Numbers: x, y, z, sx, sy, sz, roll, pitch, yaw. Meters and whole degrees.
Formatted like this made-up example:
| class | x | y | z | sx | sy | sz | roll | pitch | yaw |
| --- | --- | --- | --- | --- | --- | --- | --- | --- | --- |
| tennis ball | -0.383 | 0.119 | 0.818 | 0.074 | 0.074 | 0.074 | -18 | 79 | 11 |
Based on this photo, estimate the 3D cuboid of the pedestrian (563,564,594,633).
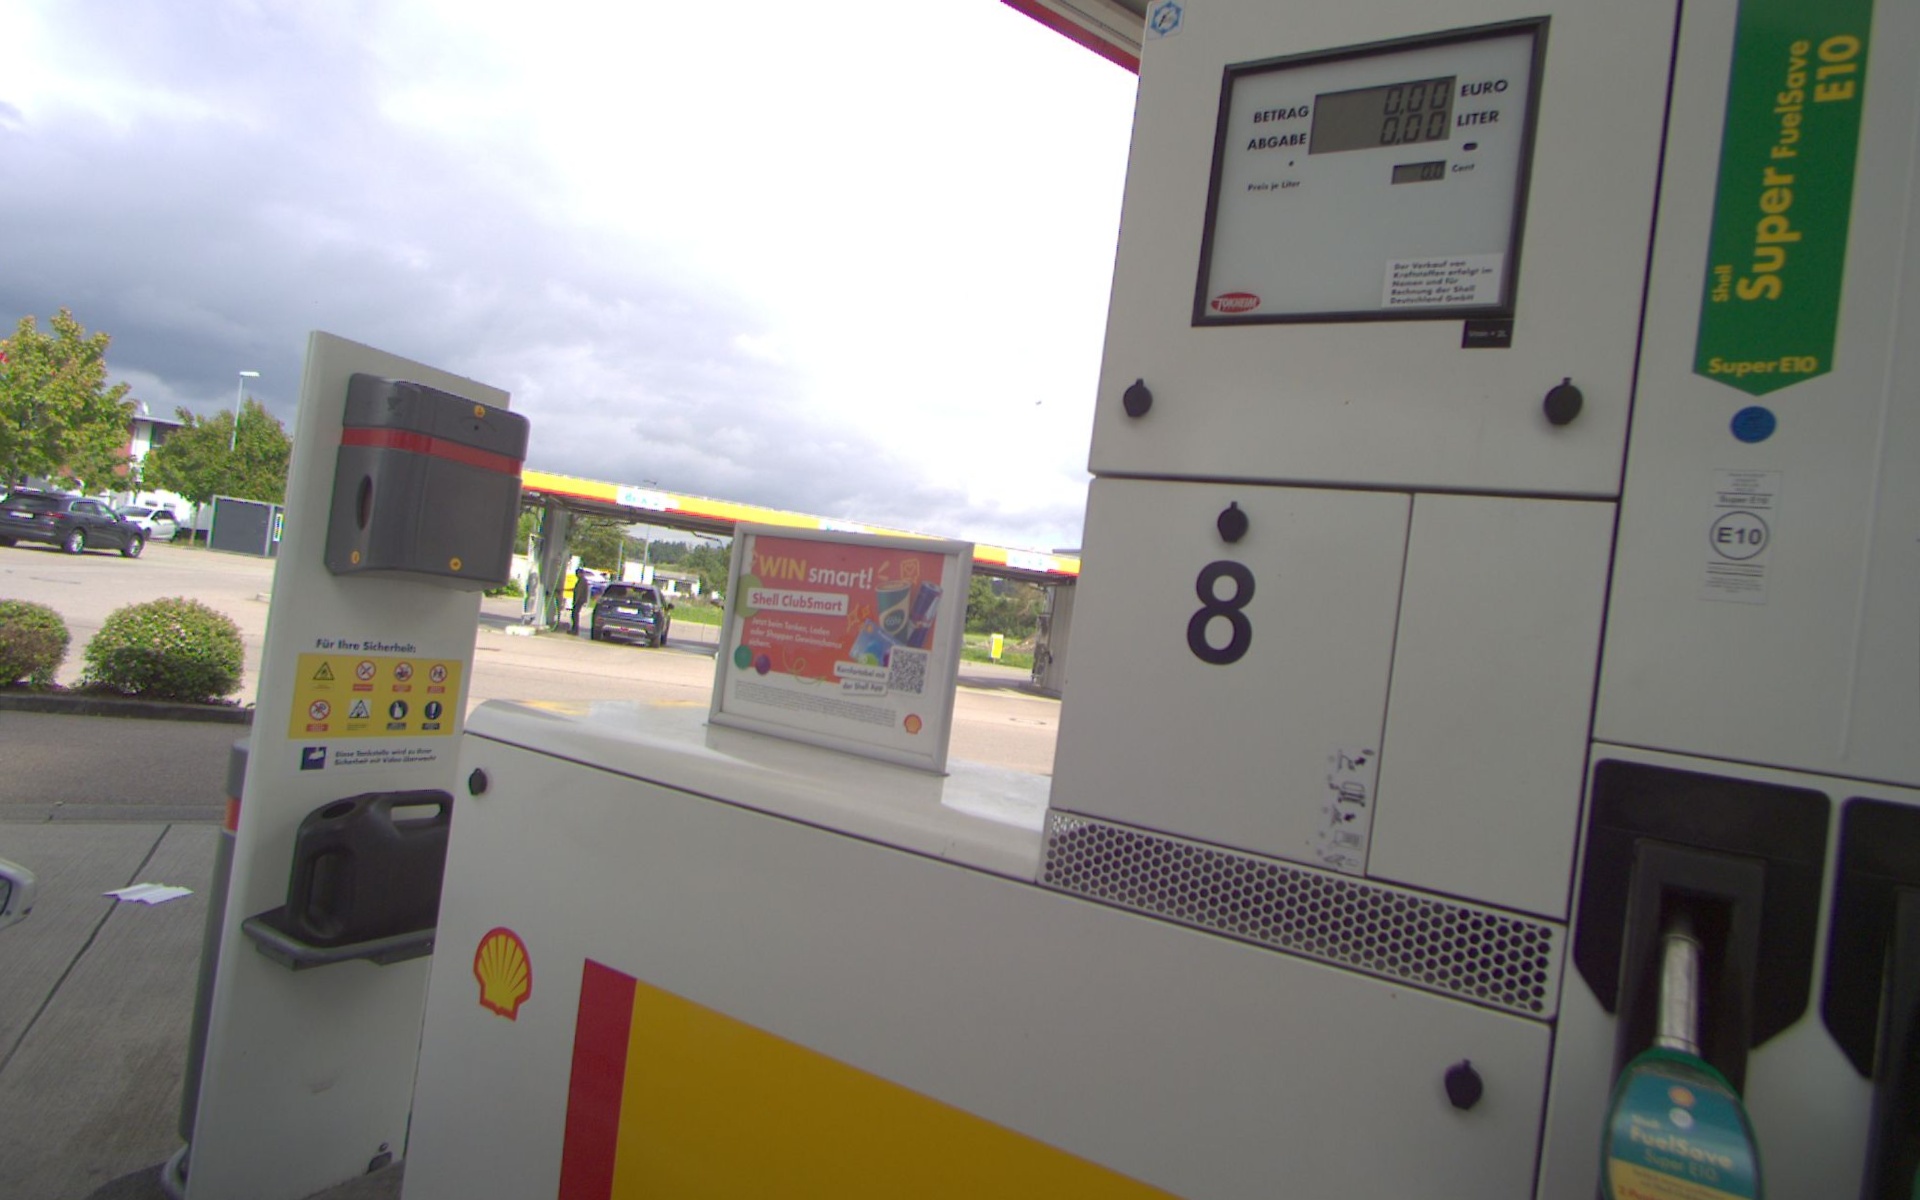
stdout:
| class | x | y | z | sx | sy | sz | roll | pitch | yaw |
| --- | --- | --- | --- | --- | --- | --- | --- | --- | --- |
| pedestrian | -10.097 | -0.032 | 26.641 | 0.550 | 1.742 | 0.526 | 7 | -1 | -18 |

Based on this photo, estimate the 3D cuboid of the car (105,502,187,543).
| class | x | y | z | sx | sy | sz | roll | pitch | yaw |
| --- | --- | --- | --- | --- | --- | --- | --- | --- | --- |
| car | -35.275 | -3.347 | 43.680 | 1.346 | 1.322 | 3.098 | 8 | -2 | -12 |

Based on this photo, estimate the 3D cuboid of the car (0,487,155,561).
| class | x | y | z | sx | sy | sz | roll | pitch | yaw |
| --- | --- | --- | --- | --- | --- | --- | --- | --- | --- |
| car | -25.945 | -2.173 | 29.295 | 1.855 | 1.566 | 4.498 | 8 | -2 | -10 |

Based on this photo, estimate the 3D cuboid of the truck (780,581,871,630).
| class | x | y | z | sx | sy | sz | roll | pitch | yaw |
| --- | --- | --- | --- | --- | --- | --- | --- | --- | --- |
| truck | -13.030 | 0.546 | 97.541 | 7.978 | 3.575 | 2.687 | 8 | -2 | -19 |

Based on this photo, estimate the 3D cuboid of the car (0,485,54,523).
| class | x | y | z | sx | sy | sz | roll | pitch | yaw |
| --- | --- | --- | --- | --- | --- | --- | --- | --- | --- |
| car | -57.375 | -5.911 | 60.276 | 2.149 | 1.854 | 4.870 | 8 | -2 | -11 |

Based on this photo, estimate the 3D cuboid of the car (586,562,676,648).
| class | x | y | z | sx | sy | sz | roll | pitch | yaw |
| --- | --- | --- | --- | --- | --- | --- | --- | --- | --- |
| car | -8.713 | 0.145 | 26.896 | 1.696 | 1.919 | 3.800 | 8 | -2 | -12 |
